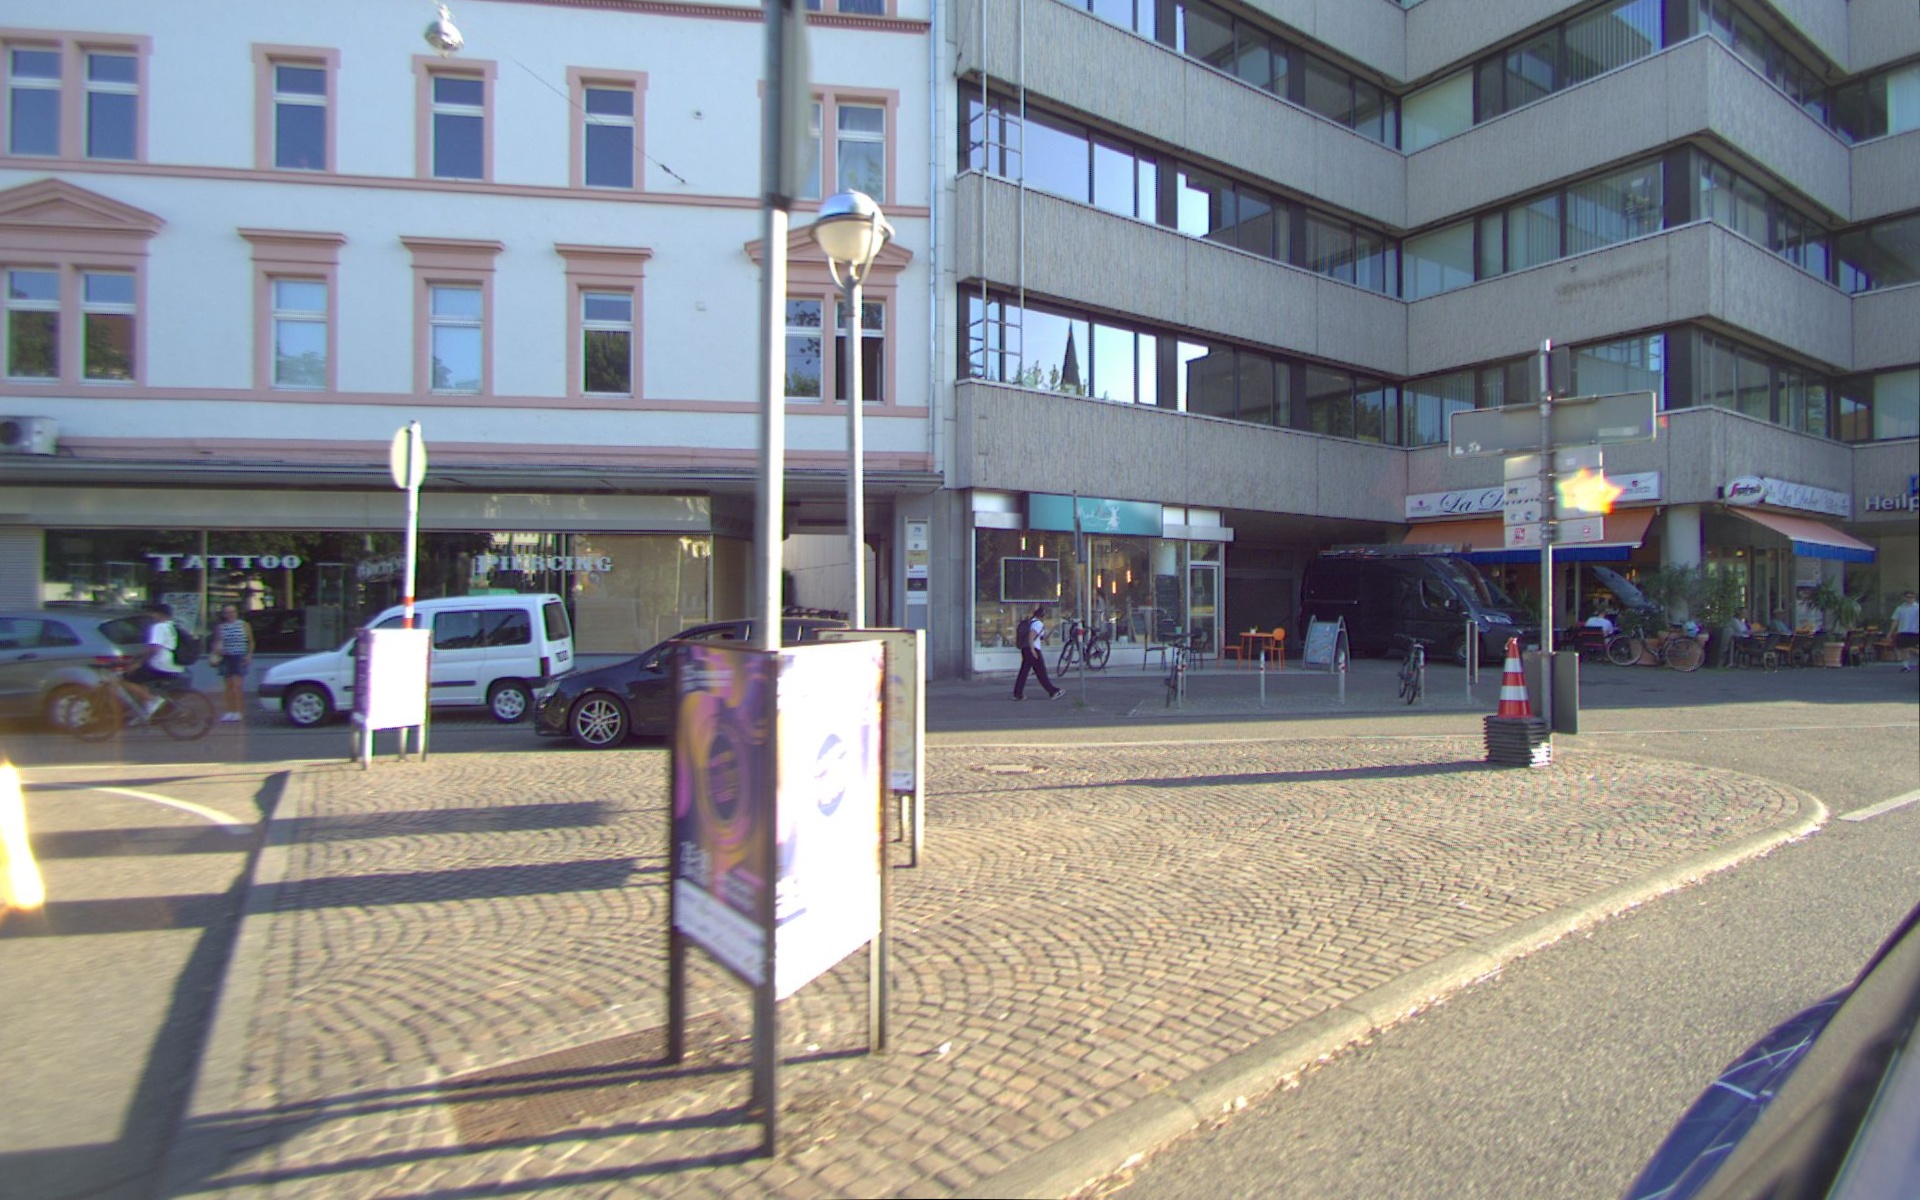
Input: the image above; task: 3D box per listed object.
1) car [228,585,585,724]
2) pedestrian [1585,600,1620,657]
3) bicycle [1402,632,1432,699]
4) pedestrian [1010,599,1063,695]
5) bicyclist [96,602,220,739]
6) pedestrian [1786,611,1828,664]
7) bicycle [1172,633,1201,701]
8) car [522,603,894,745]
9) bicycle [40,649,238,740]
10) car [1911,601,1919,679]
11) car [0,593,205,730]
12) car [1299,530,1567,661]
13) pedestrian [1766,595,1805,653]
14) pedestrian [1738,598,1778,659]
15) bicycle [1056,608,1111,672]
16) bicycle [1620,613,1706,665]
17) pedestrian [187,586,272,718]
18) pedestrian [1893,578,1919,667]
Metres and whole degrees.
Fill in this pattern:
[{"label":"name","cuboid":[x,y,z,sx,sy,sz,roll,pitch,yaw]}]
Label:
[{"label":"car","cuboid":[-7.848,0.709,14.750,4.143,1.806,1.936,-1,1,-8]},{"label":"pedestrian","cuboid":[14.294,0.626,22.526,0.412,1.209,0.462,0,4,-31]},{"label":"bicycle","cuboid":[7.466,1.050,16.547,0.298,1.005,1.286,-1,-1,19]},{"label":"pedestrian","cuboid":[1.273,0.775,16.911,0.777,1.555,0.570,-1,1,-4]},{"label":"bicyclist","cuboid":[-9.982,0.851,12.630,0.989,1.635,0.722,-1,-1,-8]},{"label":"pedestrian","cuboid":[18.223,0.801,21.779,0.550,1.101,0.611,0,0,-40]},{"label":"bicycle","cuboid":[3.637,1.054,16.228,0.298,1.005,1.286,-1,-1,19]},{"label":"car","cuboid":[-2.912,0.822,12.319,4.077,1.505,1.939,-1,-1,-7]},{"label":"bicycle","cuboid":[-10.159,1.157,12.581,1.797,1.025,0.734,-1,-1,-8]},{"label":"car","cuboid":[19.852,0.711,18.232,3.919,1.460,1.797,-1,-1,-6]},{"label":"car","cuboid":[-13.138,0.803,13.921,3.919,1.660,2.004,-1,3,-7]},{"label":"car","cuboid":[11.029,-0.160,24.042,2.140,2.761,5.436,0,1,-34]},{"label":"pedestrian","cuboid":[19.594,0.556,24.023,0.581,1.338,0.611,0,0,-41]},{"label":"pedestrian","cuboid":[17.919,0.621,22.738,0.550,1.338,0.611,0,0,-40]},{"label":"bicycle","cuboid":[2.453,0.777,20.016,0.484,1.207,1.409,-1,-1,34]},{"label":"bicycle","cuboid":[14.775,0.803,21.310,1.435,1.005,0.525,2,2,32]},{"label":"pedestrian","cuboid":[-10.414,0.726,14.456,0.778,1.823,0.639,-1,-1,-8]},{"label":"pedestrian","cuboid":[20.542,0.475,21.609,0.525,1.860,0.622,1,3,-20]}]
